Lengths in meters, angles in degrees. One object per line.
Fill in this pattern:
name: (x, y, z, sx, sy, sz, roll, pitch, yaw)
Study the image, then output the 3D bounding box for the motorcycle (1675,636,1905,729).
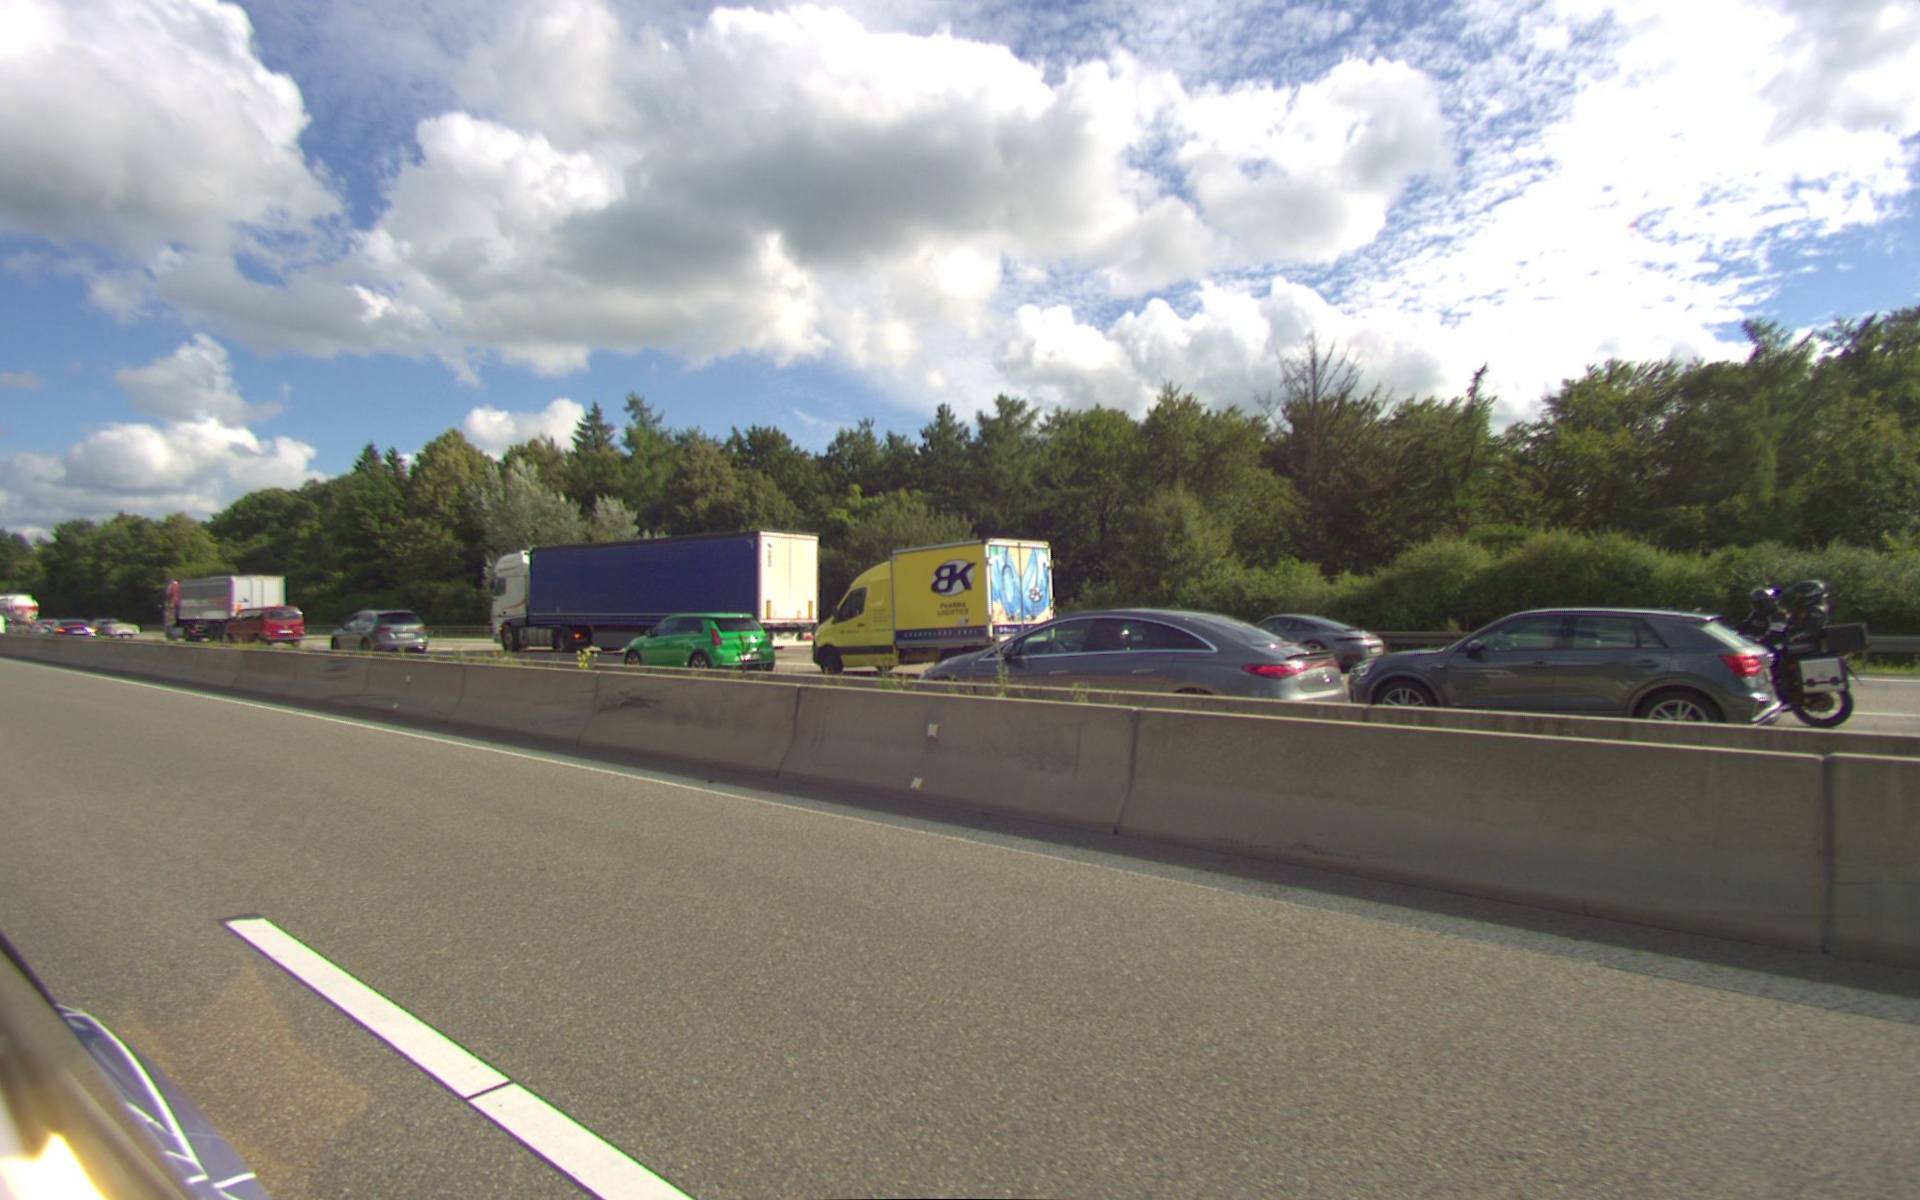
motorcycle: (10.310, 0.990, 12.654, 2.174, 1.048, 0.603, -1, -1, 43)

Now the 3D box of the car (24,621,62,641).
car: (-67.877, 2.302, 74.868, 3.997, 1.413, 1.587, -1, -1, 41)

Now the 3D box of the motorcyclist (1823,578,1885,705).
motorcyclist: (10.781, 0.483, 12.205, 0.532, 1.487, 0.596, -1, 0, 42)

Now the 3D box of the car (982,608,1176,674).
car: (2.892, 0.961, 25.135, 4.402, 1.482, 2.032, -1, -1, 41)

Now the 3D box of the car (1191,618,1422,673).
car: (8.024, 1.020, 23.766, 1.913, 1.140, 4.788, 0, -1, -45)

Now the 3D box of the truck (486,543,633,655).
truck: (-16.014, 0.015, 40.279, 6.053, 4.125, 2.792, -1, -1, 38)

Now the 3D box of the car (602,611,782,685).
car: (-6.013, 1.022, 22.430, 4.329, 1.482, 1.765, -1, -2, 41)

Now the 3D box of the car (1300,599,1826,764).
car: (6.615, 0.773, 11.476, 4.782, 1.482, 2.149, -1, -1, 40)

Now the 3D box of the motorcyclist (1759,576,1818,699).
motorcyclist: (10.335, 0.453, 12.627, 0.532, 1.487, 0.596, -1, 0, 42)

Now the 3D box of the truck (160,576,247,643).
truck: (-46.804, 0.618, 62.536, 6.760, 3.887, 2.936, -1, -1, 41)

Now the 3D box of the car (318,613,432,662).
car: (-20.268, 1.279, 34.977, 4.909, 1.608, 1.825, -1, -2, 40)

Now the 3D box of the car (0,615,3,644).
car: (-66.887, 2.022, 69.007, 4.610, 1.892, 1.831, -1, -1, 39)

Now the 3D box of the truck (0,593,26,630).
truck: (-104.005, 1.300, 110.089, 6.439, 3.975, 2.760, -1, -1, 40)

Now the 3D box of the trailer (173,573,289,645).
trailer: (-42.544, 0.577, 58.868, 11.274, 3.887, 2.936, -1, -1, 41)

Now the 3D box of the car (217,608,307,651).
car: (-33.254, 1.389, 48.150, 5.020, 1.955, 1.831, -1, -2, 34)

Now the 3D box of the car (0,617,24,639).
car: (-83.745, 2.473, 88.715, 4.610, 1.892, 1.831, -1, -1, 39)

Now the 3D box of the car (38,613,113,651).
car: (-46.725, 1.656, 53.421, 5.356, 1.892, 2.150, -1, -1, 39)

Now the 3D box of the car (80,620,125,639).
car: (-66.465, 2.296, 78.433, 4.669, 1.425, 1.810, -1, -1, 38)

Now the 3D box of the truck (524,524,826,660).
truck: (-10.664, -0.124, 36.151, 13.826, 4.125, 2.792, -1, -1, 38)

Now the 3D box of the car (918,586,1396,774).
car: (1.881, 0.708, 10.669, 4.659, 1.564, 1.844, -1, -1, 41)

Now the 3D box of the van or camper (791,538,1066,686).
van or camper: (-0.902, 0.328, 23.111, 6.505, 2.914, 2.348, -2, -3, 43)

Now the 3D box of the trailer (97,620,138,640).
trailer: (-63.020, 2.253, 75.677, 4.174, 1.413, 1.519, -1, -1, 39)

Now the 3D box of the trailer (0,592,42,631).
trailer: (-99.336, 1.255, 106.215, 12.241, 3.975, 2.760, -1, -1, 40)
